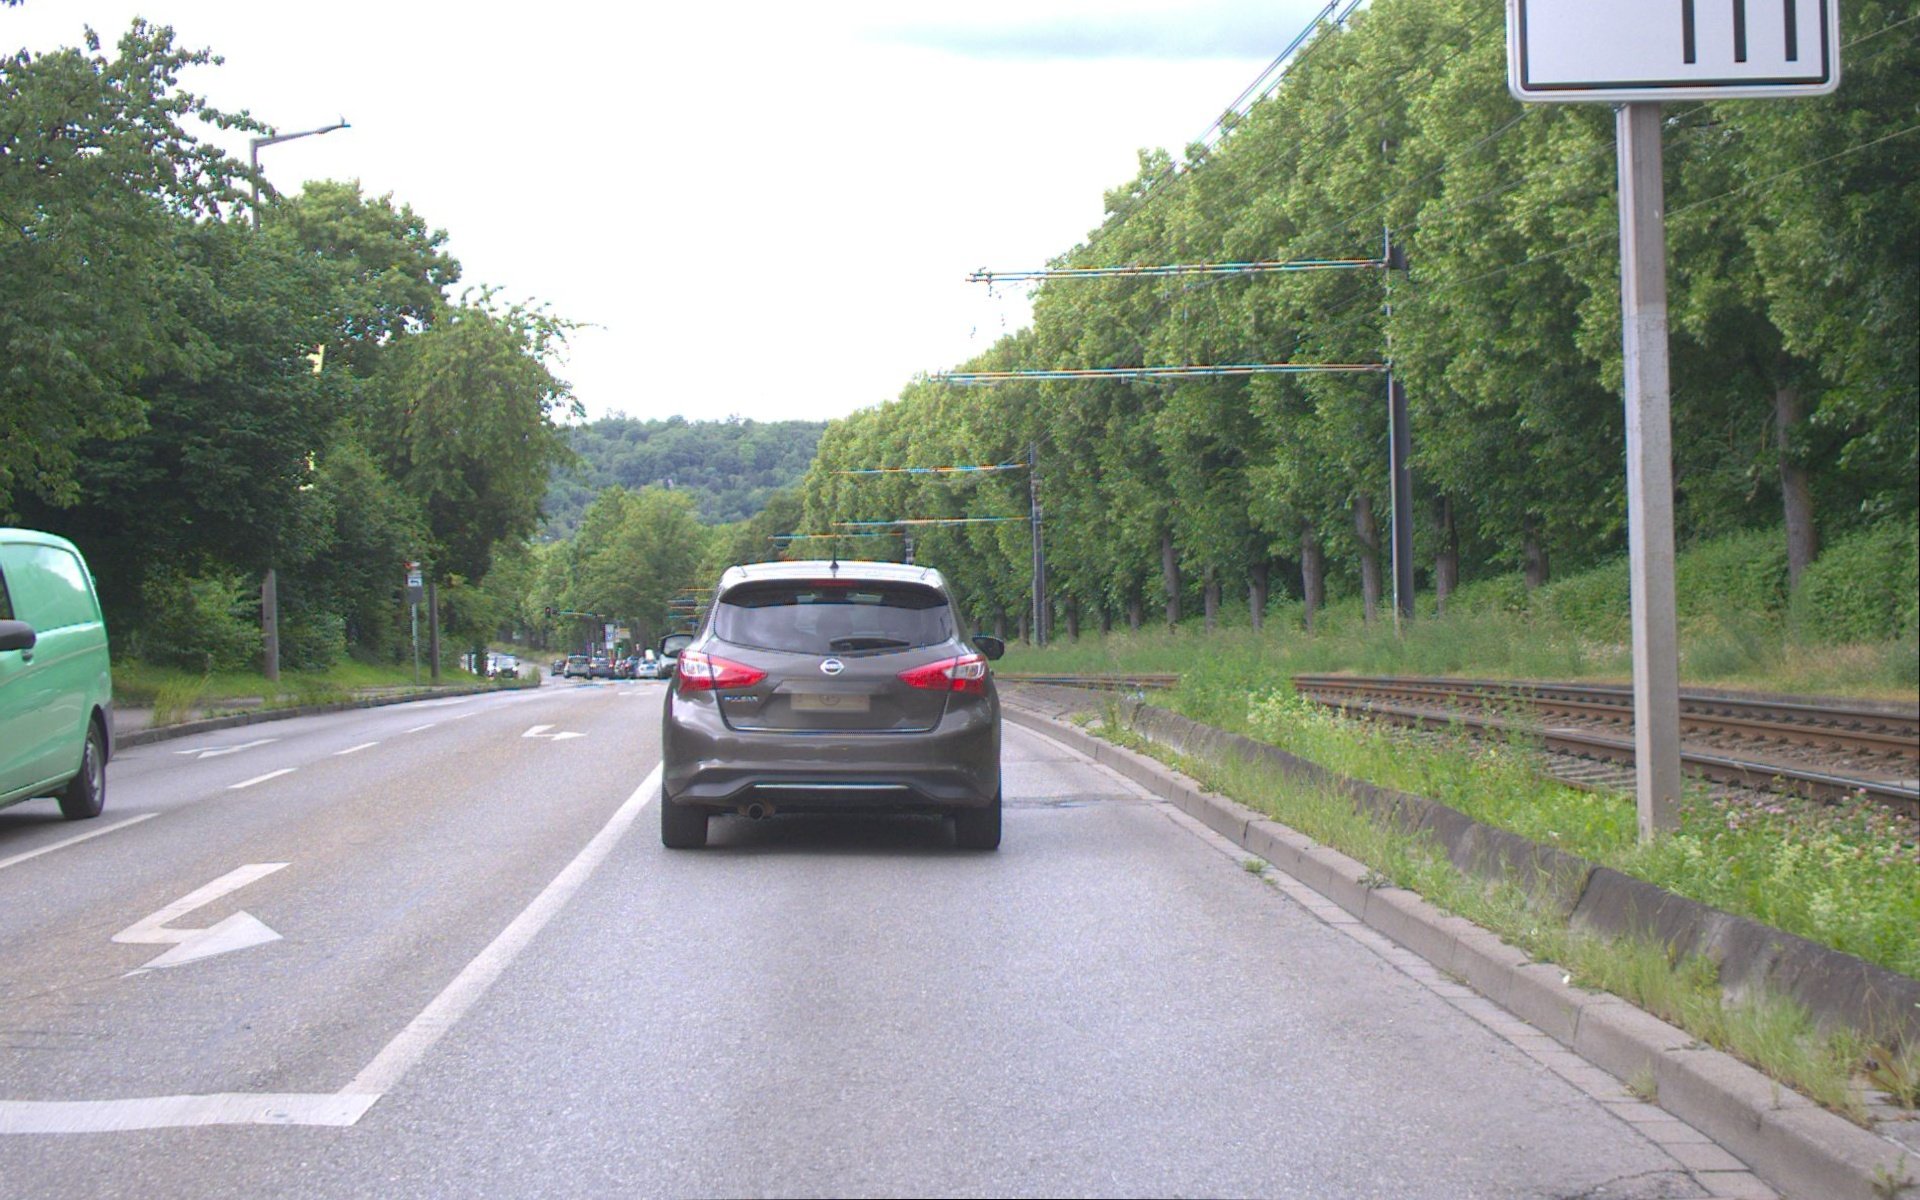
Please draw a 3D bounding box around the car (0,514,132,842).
[{"bbox_3d":[-6.380,0.464,20.071,2.058,1.804,4.730,-3,0,-3],"label":"car"}]

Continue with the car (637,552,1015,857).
[{"bbox_3d":[-0.702,0.493,19.088,1.850,1.488,4.000,1,1,-1],"label":"car"}]

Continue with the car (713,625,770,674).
[{"bbox_3d":[-6.769,1.544,106.204,1.699,1.439,4.000,0,-2,-5],"label":"car"}]

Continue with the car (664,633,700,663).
[{"bbox_3d":[-14.143,2.450,174.929,1.794,1.505,4.000,0,-2,-5],"label":"car"}]

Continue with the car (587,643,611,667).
[{"bbox_3d":[-26.907,4.099,256.579,1.699,1.708,4.000,0,-2,-5],"label":"car"}]

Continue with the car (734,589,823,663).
[{"bbox_3d":[-3.744,0.554,70.371,1.699,1.439,4.000,0,-2,-5],"label":"car"}]

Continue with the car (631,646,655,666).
[{"bbox_3d":[-23.290,4.121,252.730,1.699,1.471,3.706,0,-2,-5],"label":"car"}]

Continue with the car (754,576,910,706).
[{"bbox_3d":[-1.529,0.502,39.957,1.699,1.439,4.000,0,-2,-4],"label":"car"}]
